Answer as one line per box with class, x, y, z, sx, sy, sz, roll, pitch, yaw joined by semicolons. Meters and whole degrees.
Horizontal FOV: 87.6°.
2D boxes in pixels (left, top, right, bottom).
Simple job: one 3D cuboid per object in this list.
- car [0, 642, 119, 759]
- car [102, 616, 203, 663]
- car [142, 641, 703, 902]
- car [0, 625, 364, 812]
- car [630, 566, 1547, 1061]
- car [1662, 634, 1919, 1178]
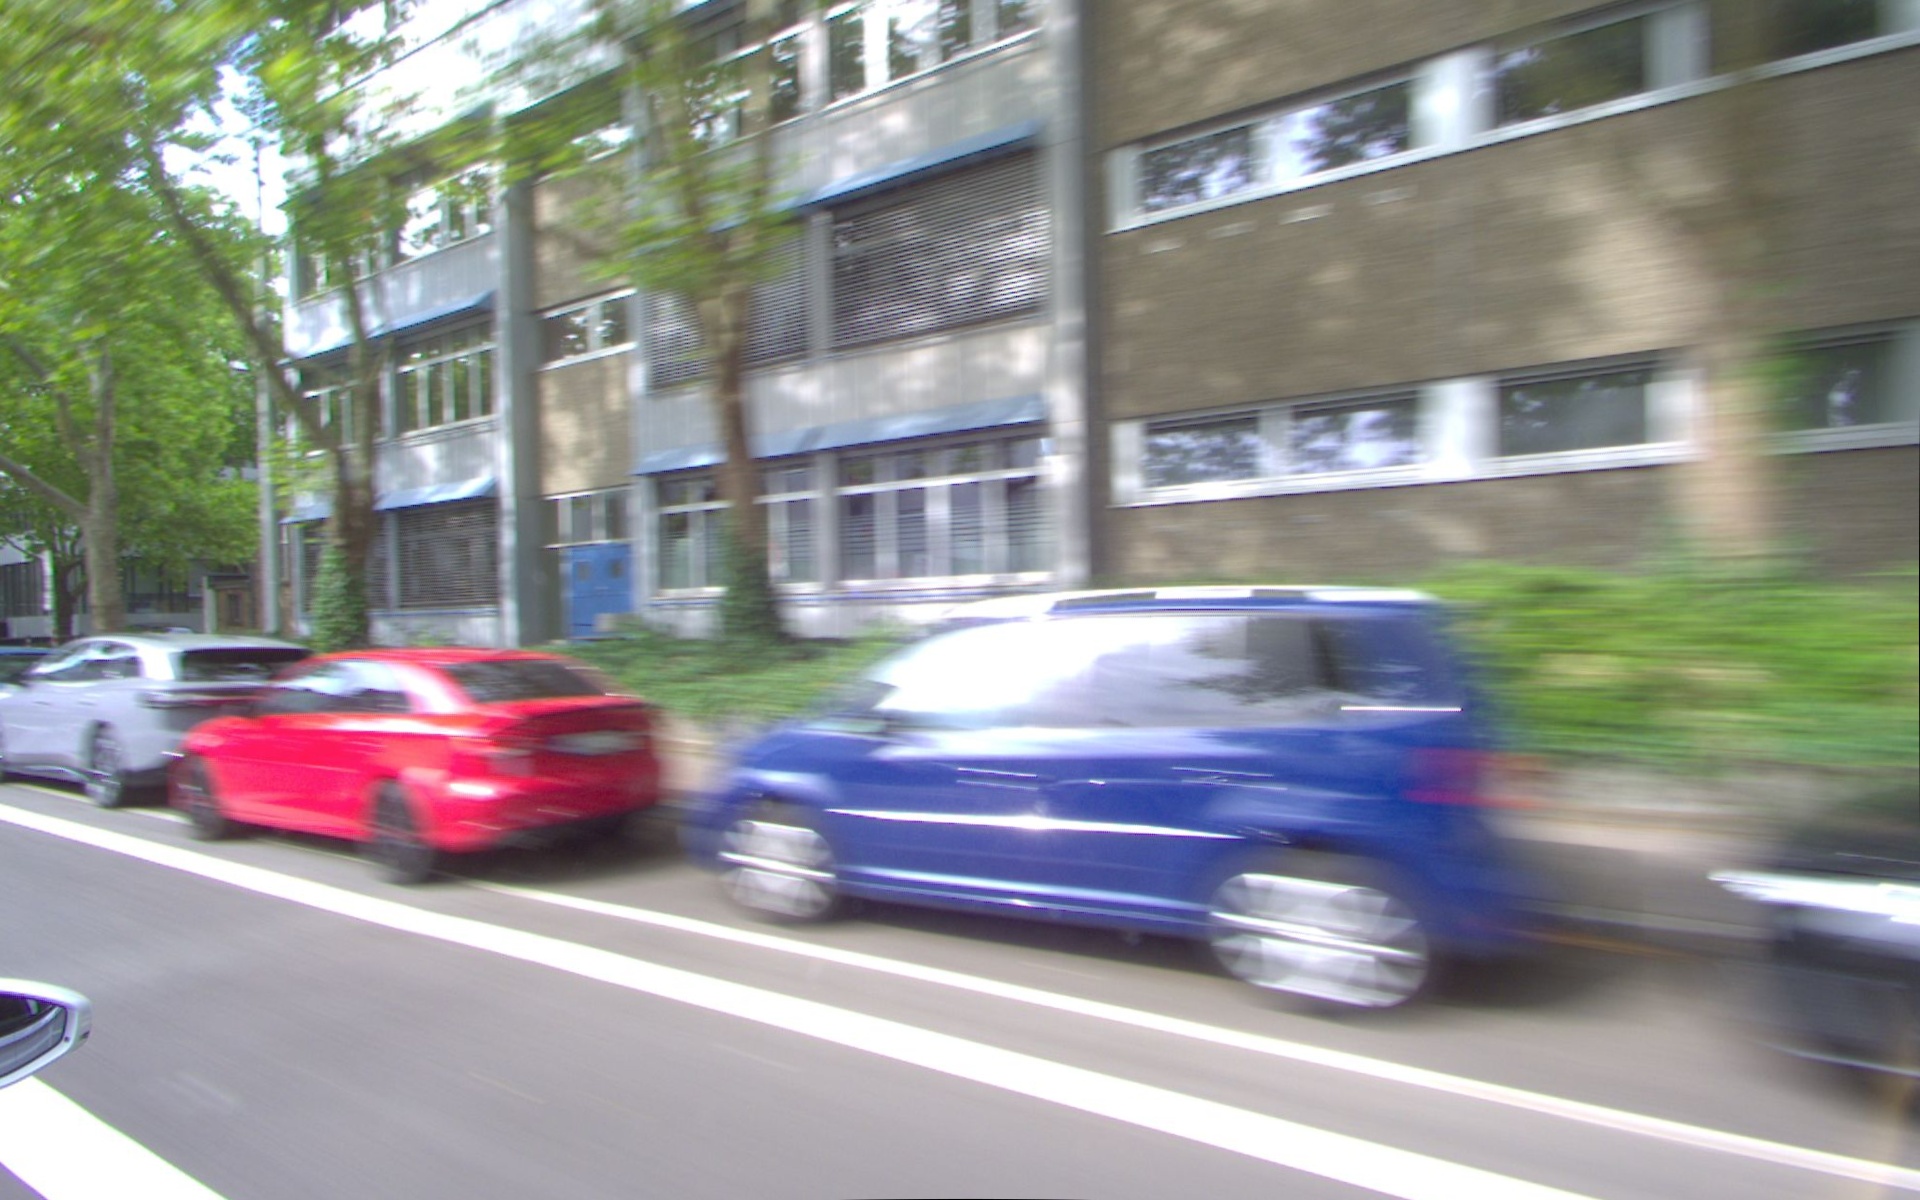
car;-12.963;1.263;13.344;3.945;1.403;1.619;-1;-3;34
car;-27.301;1.298;33.822;3.860;1.477;1.469;0;-1;32
car;-4.089;1.022;7.399;4.396;1.412;1.673;-1;-2;31
car;-8.268;1.054;10.218;4.801;1.536;1.725;-2;-2;31
car;0.475;0.784;5.186;4.352;1.672;1.656;-1;-2;29
car;4.207;0.816;2.547;3.892;1.440;1.654;-1;-2;34
